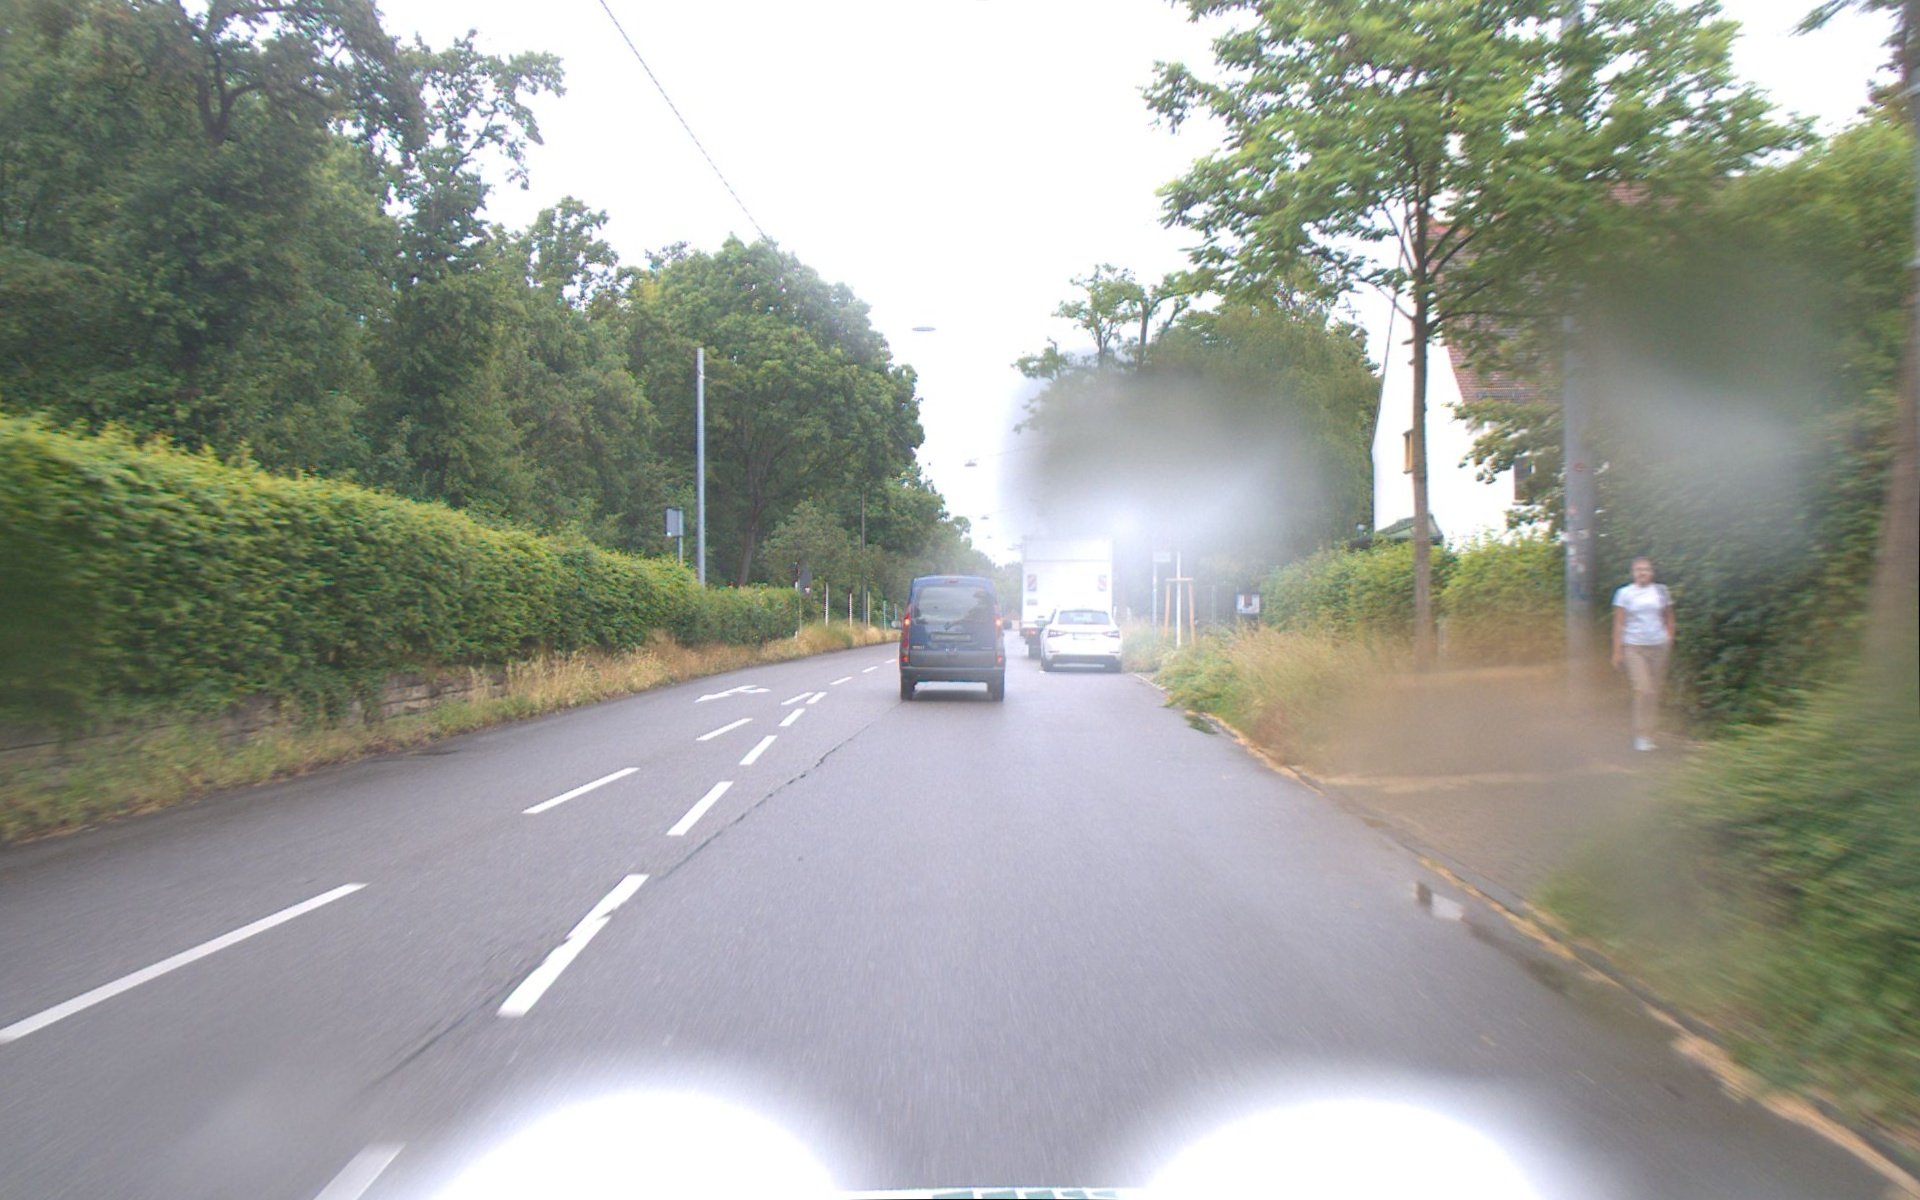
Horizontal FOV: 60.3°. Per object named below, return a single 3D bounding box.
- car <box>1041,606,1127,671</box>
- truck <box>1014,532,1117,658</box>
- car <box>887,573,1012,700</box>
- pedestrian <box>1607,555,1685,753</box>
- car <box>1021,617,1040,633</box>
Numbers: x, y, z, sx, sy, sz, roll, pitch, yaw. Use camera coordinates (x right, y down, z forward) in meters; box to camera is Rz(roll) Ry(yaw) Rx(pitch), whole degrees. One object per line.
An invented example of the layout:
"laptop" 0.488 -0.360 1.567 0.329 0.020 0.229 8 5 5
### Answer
"car" 2.820 0.849 38.378 1.775 1.405 4.285 -1 0 1
"truck" 3.031 -0.130 49.137 2.675 3.446 6.685 -1 0 1
"car" -0.237 0.535 26.140 1.773 1.829 3.997 0 0 -3
"pedestrian" 6.164 0.476 14.876 0.549 1.738 0.516 0 0 11
"car" 7.571 2.684 177.758 1.952 1.613 4.001 -1 0 2
